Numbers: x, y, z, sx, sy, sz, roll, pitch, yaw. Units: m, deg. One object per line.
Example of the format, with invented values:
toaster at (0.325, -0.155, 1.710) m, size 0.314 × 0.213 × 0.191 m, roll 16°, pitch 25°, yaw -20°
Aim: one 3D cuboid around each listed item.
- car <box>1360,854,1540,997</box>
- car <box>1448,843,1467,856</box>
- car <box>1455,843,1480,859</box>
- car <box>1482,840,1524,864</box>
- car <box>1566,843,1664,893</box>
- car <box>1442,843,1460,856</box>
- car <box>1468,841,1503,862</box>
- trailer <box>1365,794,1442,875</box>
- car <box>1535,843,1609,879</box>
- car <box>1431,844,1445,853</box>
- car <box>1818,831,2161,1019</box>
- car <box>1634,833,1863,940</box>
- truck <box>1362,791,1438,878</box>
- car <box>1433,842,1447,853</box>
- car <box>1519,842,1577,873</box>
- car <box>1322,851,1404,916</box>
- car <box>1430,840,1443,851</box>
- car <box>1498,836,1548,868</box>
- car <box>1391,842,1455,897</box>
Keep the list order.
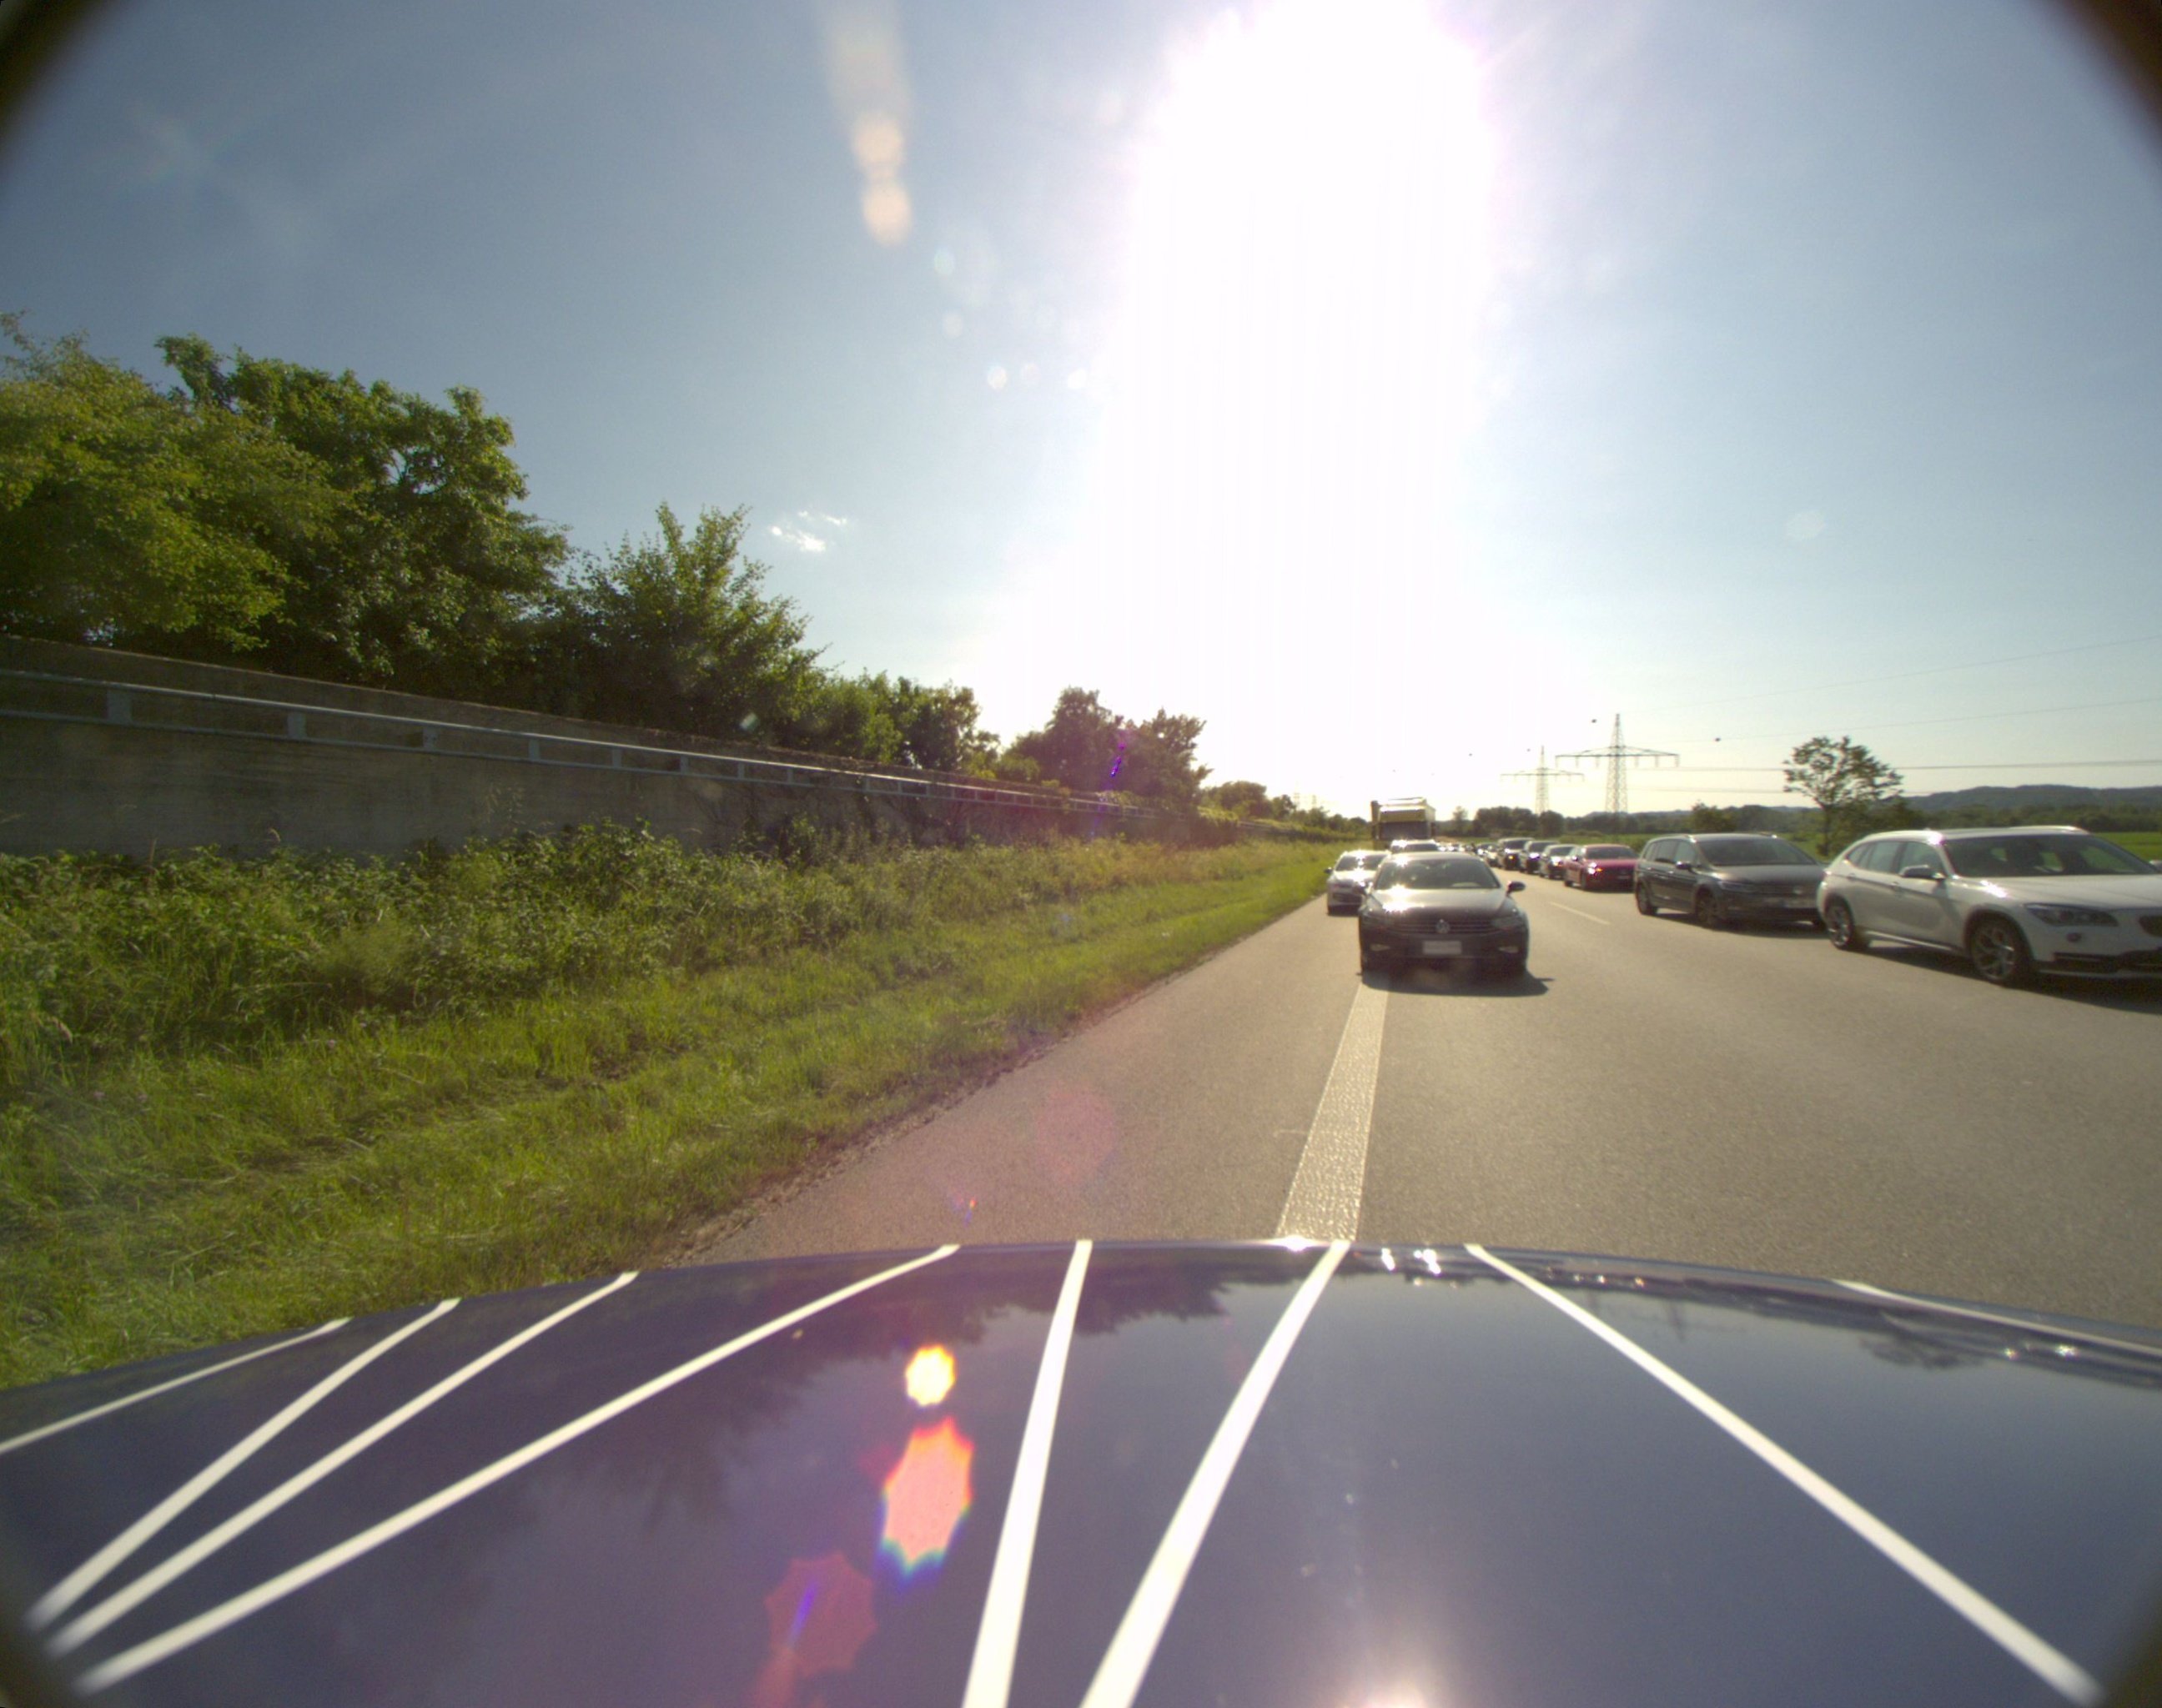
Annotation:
car at (4.777, 0.764, 10.167) m, size 1.714 × 1.405 × 4.332 m, roll -2°, pitch 0°, yaw 23°
car at (43.532, -0.543, 87.947) m, size 1.816 × 1.450 × 4.124 m, roll 0°, pitch 1°, yaw 24°
car at (36.622, -0.314, 72.071) m, size 1.817 × 1.450 × 4.124 m, roll -2°, pitch 0°, yaw 24°
car at (28.167, -0.173, 50.860) m, size 1.995 × 1.522 × 4.006 m, roll 0°, pitch 1°, yaw 22°
car at (16.907, 0.380, 24.271) m, size 1.816 × 1.450 × 4.124 m, roll 0°, pitch 1°, yaw 24°
car at (46.616, -0.595, 95.805) m, size 1.817 × 1.450 × 4.123 m, roll -2°, pitch 0°, yaw 23°
car at (31.625, -0.223, 59.503) m, size 1.995 × 1.522 × 4.006 m, roll 0°, pitch 1°, yaw 22°
trailer at (19.764, -1.156, 45.933) m, size 3.382 × 4.089 × 13.975 m, roll -2°, pitch 1°, yaw 26°
car at (20.669, 0.252, 32.145) m, size 1.892 × 1.390 × 4.006 m, roll 0°, pitch 1°, yaw 22°
car at (56.354, -0.879, 119.977) m, size 1.816 × 1.450 × 4.124 m, roll 0°, pitch 1°, yaw 24°
car at (10.115, 0.563, 8.131) m, size 1.829 × 1.565 × 4.170 m, roll -1°, pitch 1°, yaw 23°
car at (11.678, 0.483, 13.683) m, size 1.817 × 1.606 × 4.123 m, roll -2°, pitch 0°, yaw 22°
truck at (17.045, -1.002, 40.452) m, size 3.328 × 4.089 × 6.980 m, roll -2°, pitch 1°, yaw 24°
car at (54.172, -0.976, 114.758) m, size 1.817 × 1.450 × 4.124 m, roll -2°, pitch 0°, yaw 24°
car at (23.111, 0.130, 37.735) m, size 1.891 × 1.447 × 4.006 m, roll 0°, pitch 1°, yaw 23°
car at (7.242, 0.679, 19.274) m, size 1.714 × 1.417 × 4.332 m, roll -2°, pitch 0°, yaw 23°
car at (60.154, -1.477, 128.517) m, size 1.810 × 1.783 × 3.779 m, roll 0°, pitch 1°, yaw 22°
car at (25.608, -0.133, 44.144) m, size 1.899 × 1.778 × 4.206 m, roll 0°, pitch 1°, yaw 22°
car at (11.048, 0.438, 24.693) m, size 1.714 × 1.614 × 4.332 m, roll -2°, pitch 0°, yaw 23°
